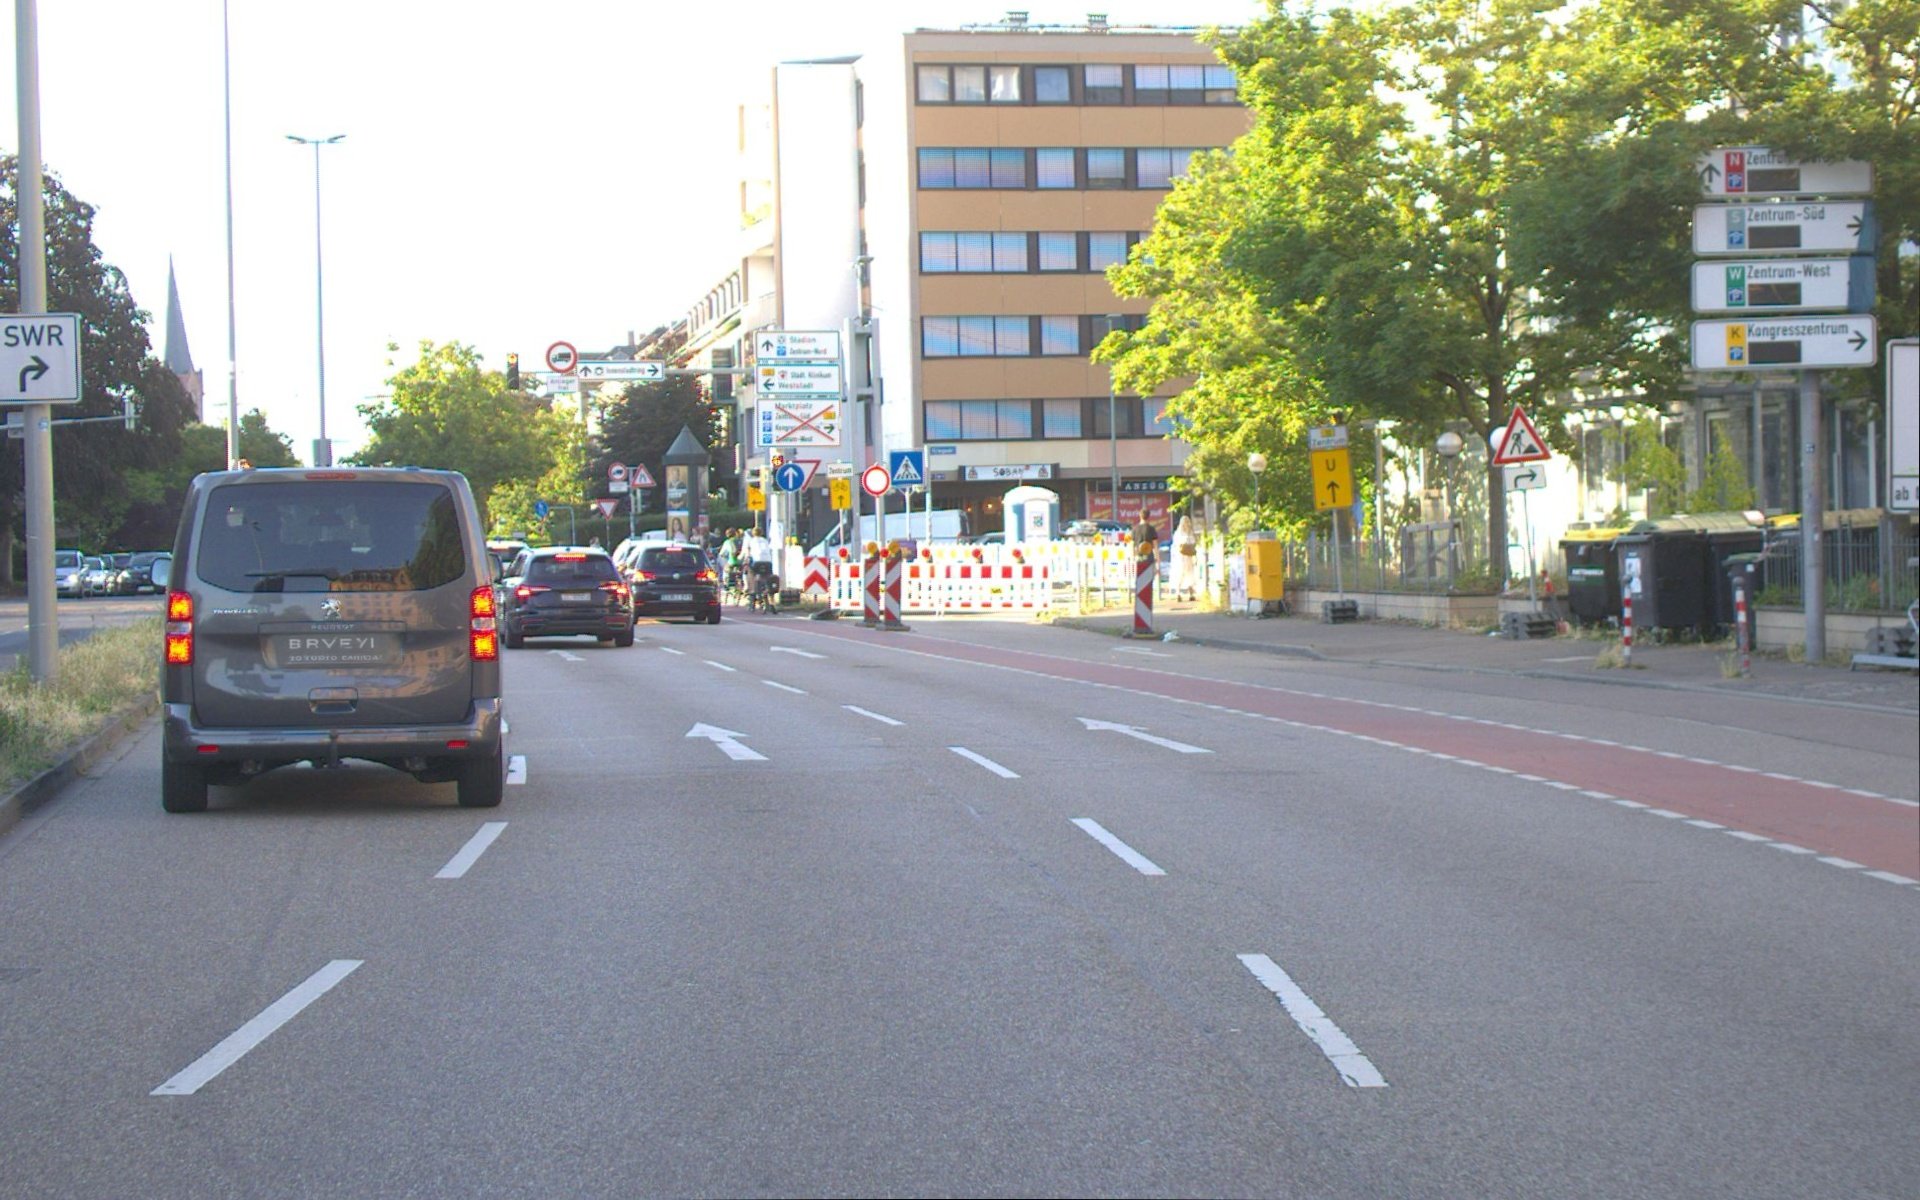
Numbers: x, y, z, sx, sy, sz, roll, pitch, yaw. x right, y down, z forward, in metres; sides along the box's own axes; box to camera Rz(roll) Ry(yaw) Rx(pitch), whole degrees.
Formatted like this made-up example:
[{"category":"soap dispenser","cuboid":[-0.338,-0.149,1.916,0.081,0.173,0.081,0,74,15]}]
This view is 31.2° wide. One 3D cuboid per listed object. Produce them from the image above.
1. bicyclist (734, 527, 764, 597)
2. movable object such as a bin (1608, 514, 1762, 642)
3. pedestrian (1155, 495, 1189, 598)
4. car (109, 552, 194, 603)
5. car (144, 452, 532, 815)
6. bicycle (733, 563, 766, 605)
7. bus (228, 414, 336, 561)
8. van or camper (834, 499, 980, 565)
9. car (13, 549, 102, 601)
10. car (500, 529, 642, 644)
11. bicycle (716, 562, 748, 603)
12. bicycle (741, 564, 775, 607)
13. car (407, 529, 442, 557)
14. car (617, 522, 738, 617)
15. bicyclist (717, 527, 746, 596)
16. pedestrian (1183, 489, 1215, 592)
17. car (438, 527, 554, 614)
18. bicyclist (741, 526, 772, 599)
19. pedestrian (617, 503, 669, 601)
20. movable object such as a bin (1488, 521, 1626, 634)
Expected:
[{"category":"bicyclist","cuboid":[-4.417,-0.799,71.812,0.540,1.454,0.641,-2,1,-8]},{"category":"movable object such as a bin","cuboid":[8.584,-0.276,40.805,1.463,1.449,1.547,-1,1,0]},{"category":"pedestrian","cuboid":[4.189,-1.053,67.942,0.490,2.007,0.664,-2,1,-10]},{"category":"car","cuboid":[-26.898,-0.773,114.499,1.993,1.590,4.001,-1,1,-2]},{"category":"car","cuboid":[-3.671,0.120,20.281,1.993,1.894,4.300,1,2,-11]},{"category":"bicycle","cuboid":[-4.406,-0.337,71.831,0.533,0.844,1.683,-2,1,-8]},{"category":"bus","cuboid":[-22.281,-3.593,112.588,3.289,4.601,10.003,0,1,-12]},{"category":"van or camper","cuboid":[-1.705,-2.207,111.758,4.565,2.007,2.000,-1,1,4]},{"category":"car","cuboid":[-29.776,-0.837,113.522,1.993,1.590,4.001,-1,1,-2]},{"category":"car","cuboid":[-5.523,-0.227,49.137,1.845,1.539,3.632,-1,1,-4]},{"category":"bicycle","cuboid":[-4.934,-0.376,74.316,0.533,0.844,1.683,-2,1,-8]},{"category":"bicycle","cuboid":[-4.097,-0.298,69.629,0.533,0.844,1.683,-2,1,-8]},{"category":"car","cuboid":[-33.678,-3.570,216.141,1.848,1.702,3.726,-2,1,-13]},{"category":"car","cuboid":[-5.294,-0.592,64.101,1.993,1.651,4.300,-2,1,-8]},{"category":"bicyclist","cuboid":[-4.945,-0.834,74.284,0.540,1.454,0.641,-2,1,-8]},{"category":"pedestrian","cuboid":[4.739,-1.181,68.125,0.490,2.007,0.664,-1,1,-5]},{"category":"car","cuboid":[-9.334,-0.616,68.885,1.993,1.651,4.300,-2,1,-11]},{"category":"bicyclist","cuboid":[-4.117,-0.764,69.643,0.540,1.454,0.641,-2,1,-8]},{"category":"pedestrian","cuboid":[-6.560,-0.997,71.111,1.018,2.007,1.098,0,1,-8]},{"category":"movable object such as a bin","cuboid":[7.655,-0.299,44.163,1.463,1.381,1.547,-1,1,0]}]
